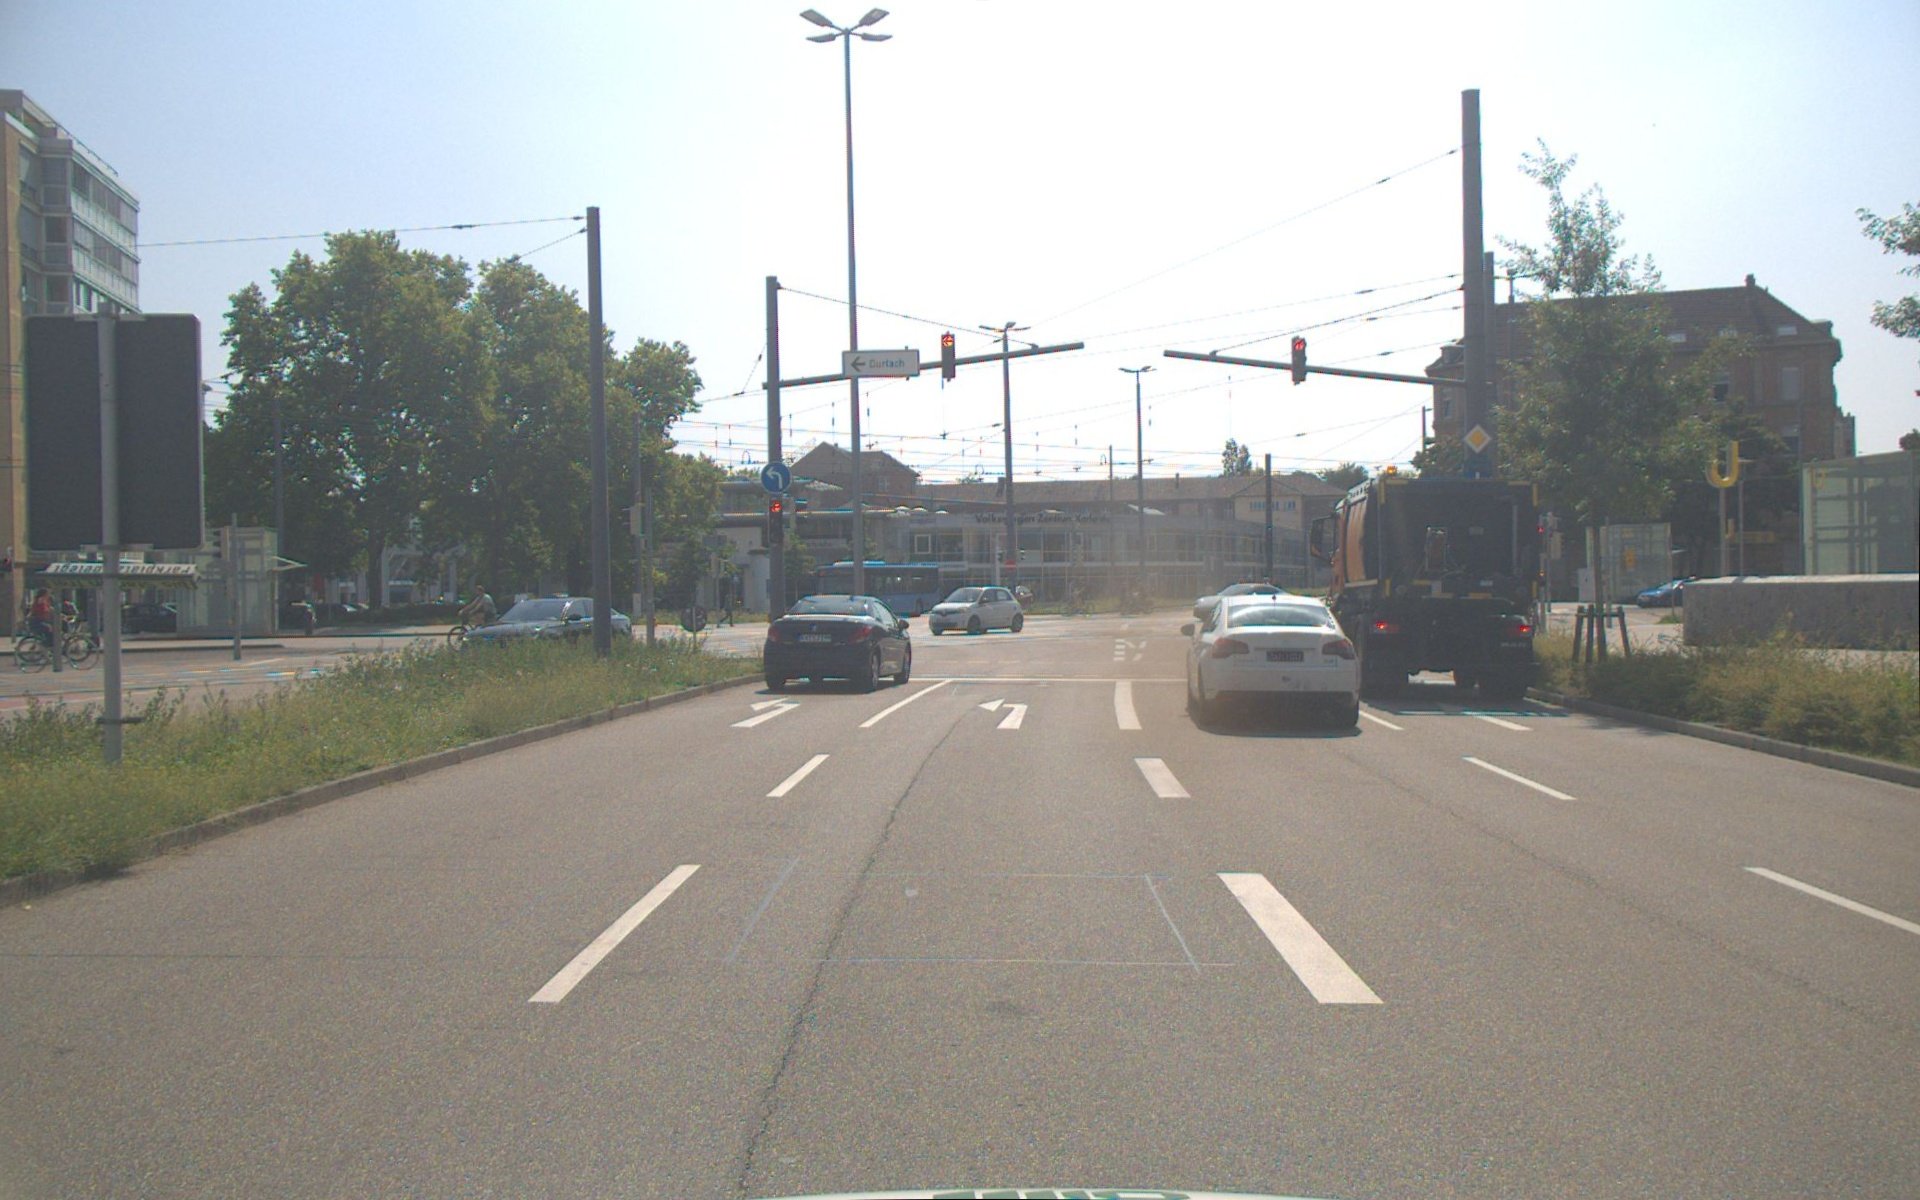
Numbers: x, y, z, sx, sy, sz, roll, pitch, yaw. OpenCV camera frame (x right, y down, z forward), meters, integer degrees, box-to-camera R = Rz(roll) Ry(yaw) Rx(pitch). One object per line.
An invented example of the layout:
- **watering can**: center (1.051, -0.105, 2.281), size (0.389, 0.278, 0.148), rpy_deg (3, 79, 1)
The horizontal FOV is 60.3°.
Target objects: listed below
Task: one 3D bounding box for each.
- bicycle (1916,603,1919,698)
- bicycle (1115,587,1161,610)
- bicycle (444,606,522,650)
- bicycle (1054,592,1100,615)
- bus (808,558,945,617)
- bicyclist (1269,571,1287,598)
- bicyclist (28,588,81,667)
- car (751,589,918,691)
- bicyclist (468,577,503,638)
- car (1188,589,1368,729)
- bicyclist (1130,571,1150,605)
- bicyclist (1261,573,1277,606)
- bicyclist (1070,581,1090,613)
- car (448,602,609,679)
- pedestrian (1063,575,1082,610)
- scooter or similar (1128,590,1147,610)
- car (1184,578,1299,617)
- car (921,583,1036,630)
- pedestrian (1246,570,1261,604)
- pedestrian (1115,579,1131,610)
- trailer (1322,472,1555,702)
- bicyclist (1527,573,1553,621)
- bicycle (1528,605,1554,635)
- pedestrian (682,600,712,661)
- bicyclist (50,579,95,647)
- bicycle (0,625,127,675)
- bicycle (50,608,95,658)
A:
- **bicycle**: center (11.121, 0.572, 17.796), size (0.545, 1.078, 2.004), rpy_deg (-1, 0, 2)
- **bicycle**: center (8.930, -0.099, 83.116), size (2.157, 1.106, 0.761), rpy_deg (-1, 0, -11)
- **bicycle**: center (-13.210, 0.767, 45.843), size (0.685, 1.156, 2.034), rpy_deg (-1, 0, 39)
- **bicycle**: center (5.786, 0.167, 81.967), size (2.160, 1.106, 0.760), rpy_deg (-1, 0, -15)
- **bus**: center (-4.409, -0.729, 91.552), size (2.990, 2.982, 11.854), rpy_deg (-1, 1, 21)
- **bicyclist**: center (16.405, -0.809, 85.281), size (0.658, 1.374, 0.707), rpy_deg (-1, 0, -20)
- **bicyclist**: center (-19.594, 0.593, 35.802), size (0.824, 1.671, 0.605), rpy_deg (-1, 0, -13)
- **car**: center (-1.848, 0.562, 25.591), size (1.720, 1.429, 3.984), rpy_deg (0, 1, 9)
- **bicyclist**: center (-13.163, 0.212, 45.902), size (0.680, 1.678, 0.617), rpy_deg (-1, 1, 39)
- **car**: center (3.721, 0.625, 20.022), size (1.720, 1.480, 4.428), rpy_deg (0, 1, 5)
- **bicyclist**: center (9.041, -0.594, 83.133), size (0.748, 1.662, 0.761), rpy_deg (-1, 0, -11)
- **bicyclist**: center (14.436, -0.493, 77.353), size (0.650, 1.535, 0.715), rpy_deg (-1, 0, 16)
- **bicyclist**: center (5.930, -0.157, 82.006), size (0.784, 1.568, 0.760), rpy_deg (-1, 0, -14)
- **car**: center (-8.930, 0.797, 34.645), size (1.733, 1.435, 4.769), rpy_deg (-1, 0, 5)
- **pedestrian**: center (5.707, -0.381, 83.725), size (0.767, 1.782, 0.809), rpy_deg (-1, 0, 20)
- **scooter or similar**: center (9.045, -0.005, 84.303), size (0.820, 0.991, 0.791), rpy_deg (-1, 0, -9)
- **car**: center (11.170, -0.091, 65.461), size (4.538, 1.424, 1.921), rpy_deg (-2, 0, -37)
- **car**: center (0.650, 0.211, 54.993), size (1.741, 1.450, 4.049), rpy_deg (-1, 0, 38)
- **pedestrian**: center (15.355, -0.670, 86.483), size (0.610, 1.782, 0.627), rpy_deg (-1, 0, -6)
- **pedestrian**: center (8.306, -0.273, 84.163), size (0.623, 1.588, 0.746), rpy_deg (-1, 0, -9)
- **trailer**: center (7.076, -0.218, 25.271), size (2.410, 3.060, 6.330), rpy_deg (0, 1, 7)
- **bicyclist**: center (16.589, -0.084, 47.326), size (0.660, 1.343, 0.684), rpy_deg (-1, 0, 19)
- **bicycle**: center (16.601, 0.552, 47.316), size (0.660, 0.790, 2.128), rpy_deg (-1, 0, 19)
- **pedestrian**: center (-5.724, 0.664, 36.031), size (0.585, 1.290, 0.503), rpy_deg (-1, 3, -14)
- **bicyclist**: center (-22.548, 0.316, 42.023), size (0.961, 1.683, 0.656), rpy_deg (-1, 0, -29)
- **bicycle**: center (-19.442, 1.076, 35.838), size (2.367, 0.970, 0.602), rpy_deg (-2, 0, -13)
- **bicycle**: center (-22.548, 0.826, 42.056), size (0.961, 1.199, 2.806), rpy_deg (-1, 0, -28)
